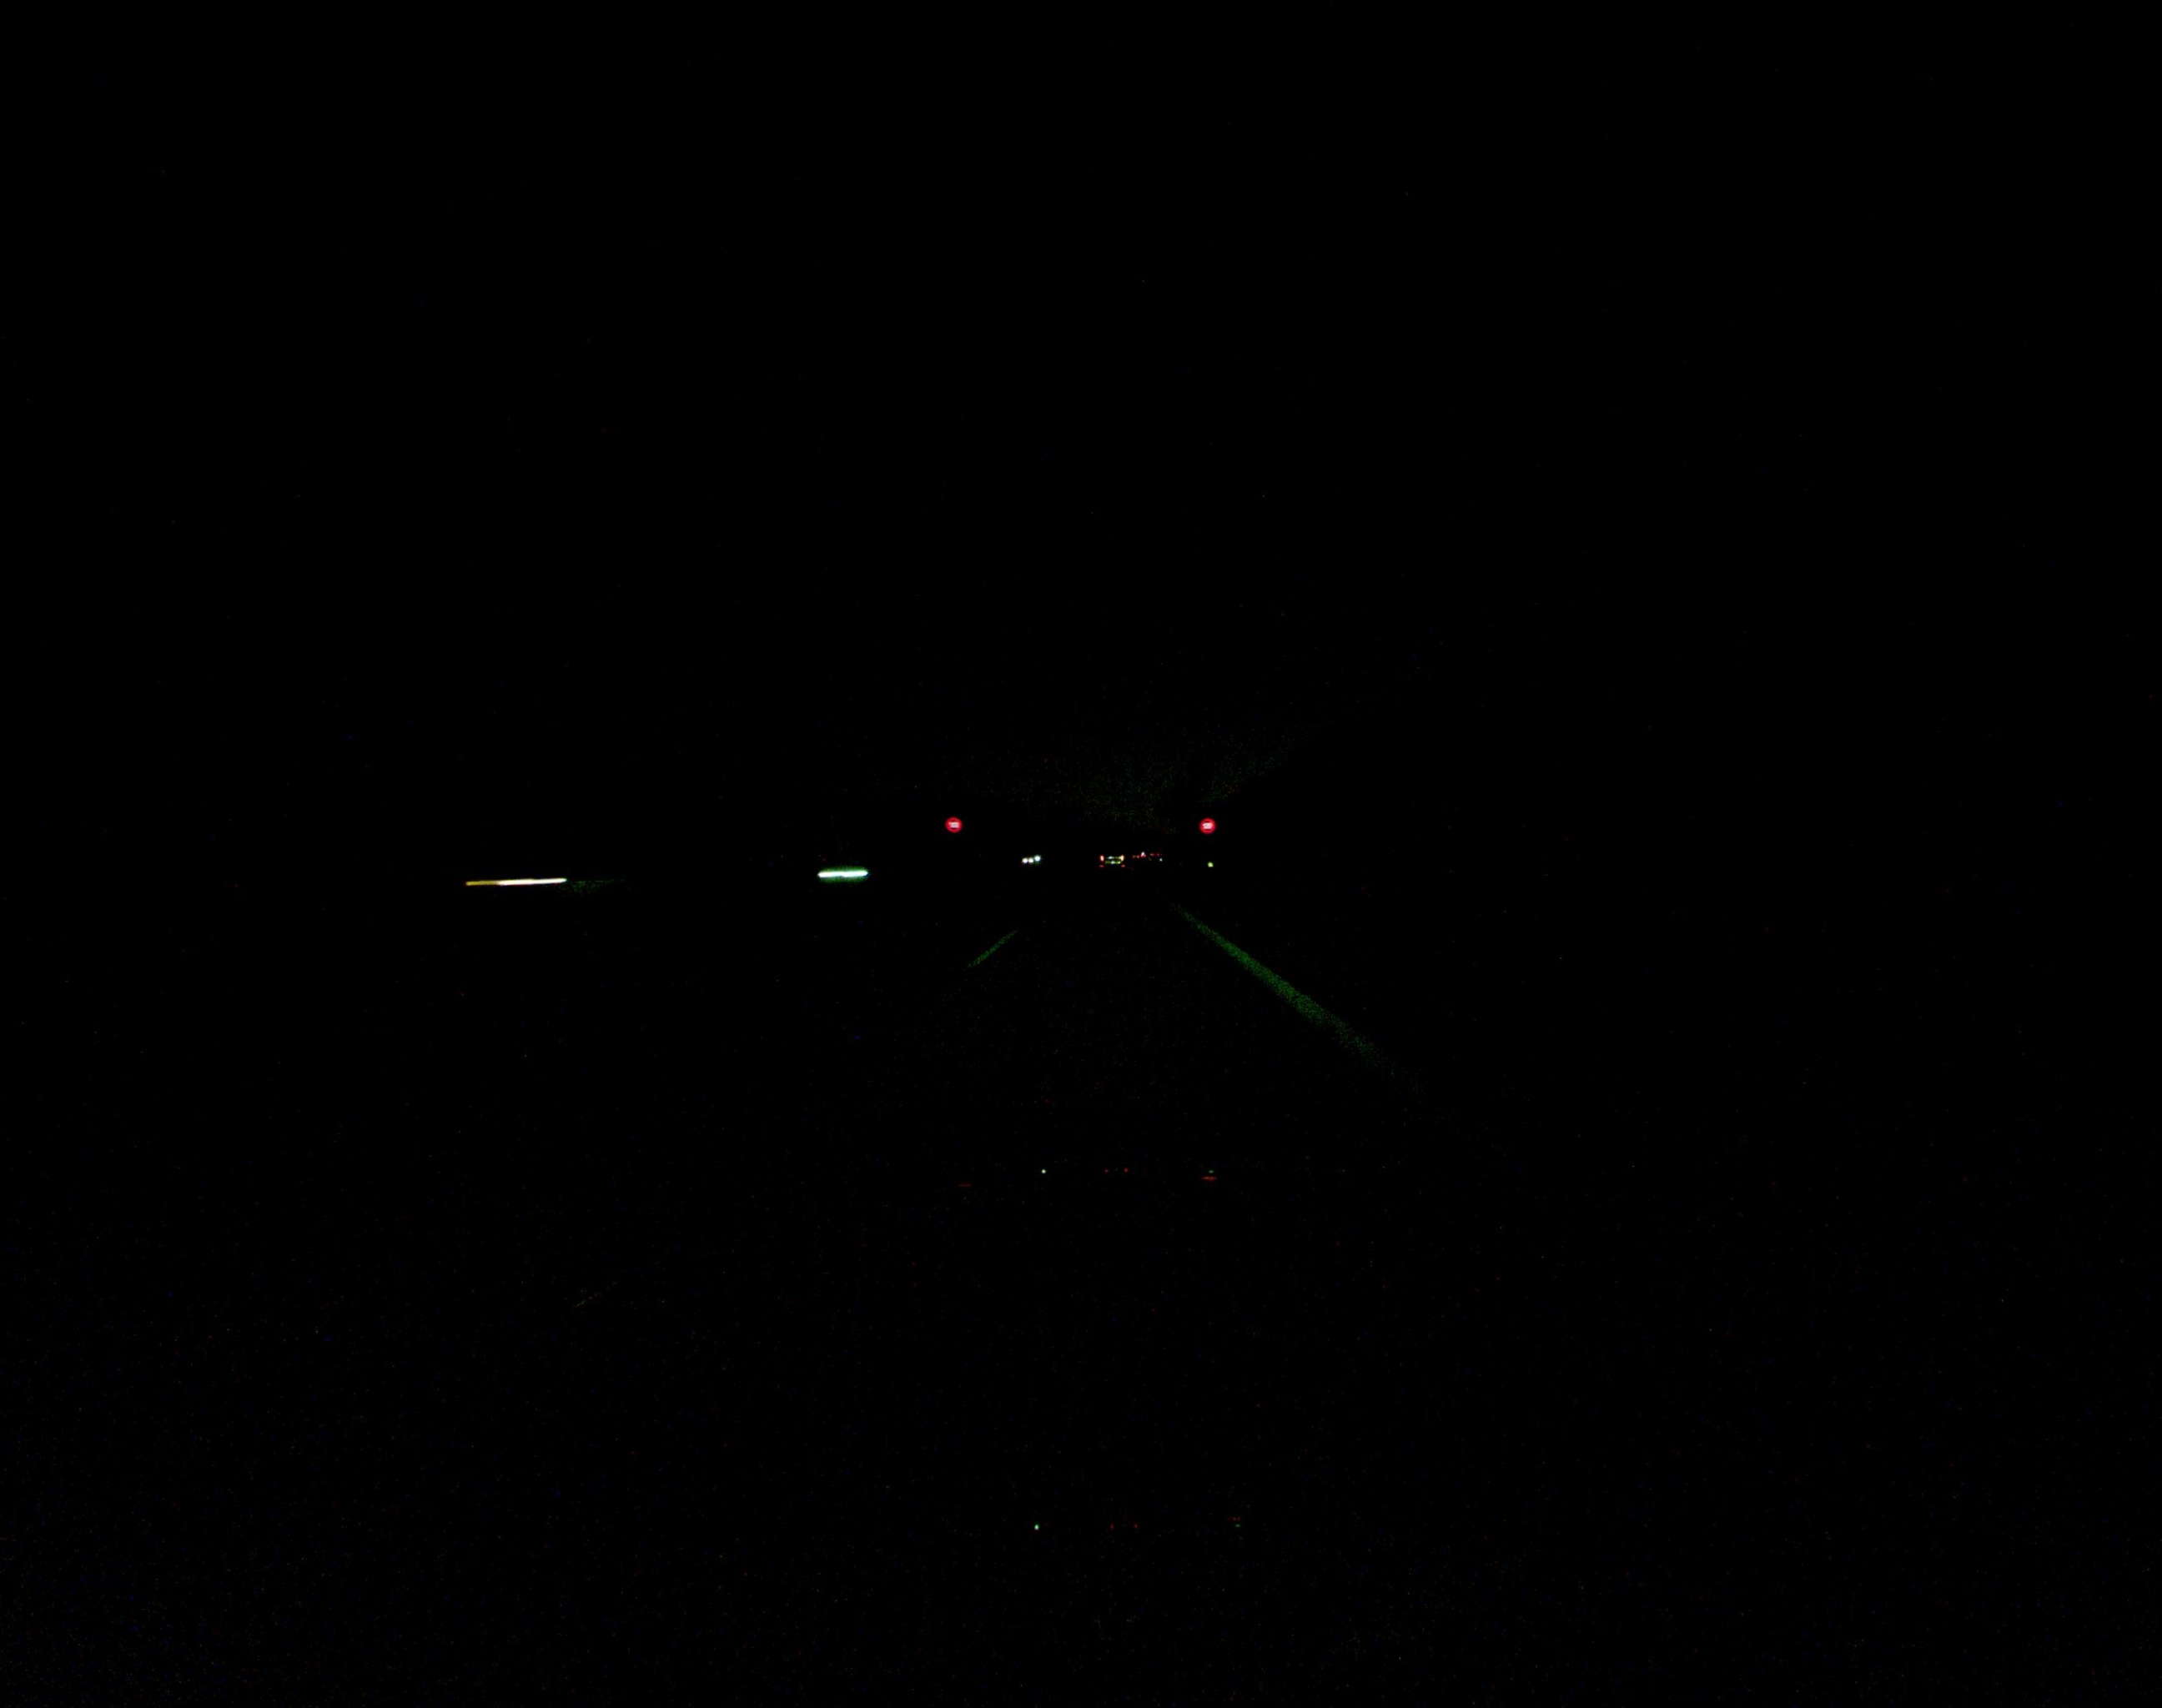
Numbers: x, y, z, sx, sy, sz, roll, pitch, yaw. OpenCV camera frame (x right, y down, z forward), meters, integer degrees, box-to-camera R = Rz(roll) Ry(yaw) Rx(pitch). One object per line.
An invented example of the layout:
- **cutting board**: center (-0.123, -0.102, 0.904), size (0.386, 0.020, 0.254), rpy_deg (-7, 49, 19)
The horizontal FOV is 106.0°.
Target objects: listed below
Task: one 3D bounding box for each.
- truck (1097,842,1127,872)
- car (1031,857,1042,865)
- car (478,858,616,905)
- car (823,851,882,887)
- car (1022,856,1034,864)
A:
- **truck**: center (2.924, 0.287, 76.054), size (2.620, 2.624, 8.688), rpy_deg (-1, -1, 2)
- **car**: center (-11.086, 1.707, 202.725), size (2.016, 2.014, 5.195), rpy_deg (-1, -1, 6)
- **car**: center (-21.488, 1.058, 33.092), size (1.985, 1.778, 5.094), rpy_deg (-1, -1, 3)
- **car**: center (-13.410, 0.877, 48.080), size (1.985, 2.014, 4.609), rpy_deg (-1, -1, 3)
- **car**: center (-10.521, 1.242, 161.756), size (1.986, 1.602, 4.215), rpy_deg (-1, -1, 2)
